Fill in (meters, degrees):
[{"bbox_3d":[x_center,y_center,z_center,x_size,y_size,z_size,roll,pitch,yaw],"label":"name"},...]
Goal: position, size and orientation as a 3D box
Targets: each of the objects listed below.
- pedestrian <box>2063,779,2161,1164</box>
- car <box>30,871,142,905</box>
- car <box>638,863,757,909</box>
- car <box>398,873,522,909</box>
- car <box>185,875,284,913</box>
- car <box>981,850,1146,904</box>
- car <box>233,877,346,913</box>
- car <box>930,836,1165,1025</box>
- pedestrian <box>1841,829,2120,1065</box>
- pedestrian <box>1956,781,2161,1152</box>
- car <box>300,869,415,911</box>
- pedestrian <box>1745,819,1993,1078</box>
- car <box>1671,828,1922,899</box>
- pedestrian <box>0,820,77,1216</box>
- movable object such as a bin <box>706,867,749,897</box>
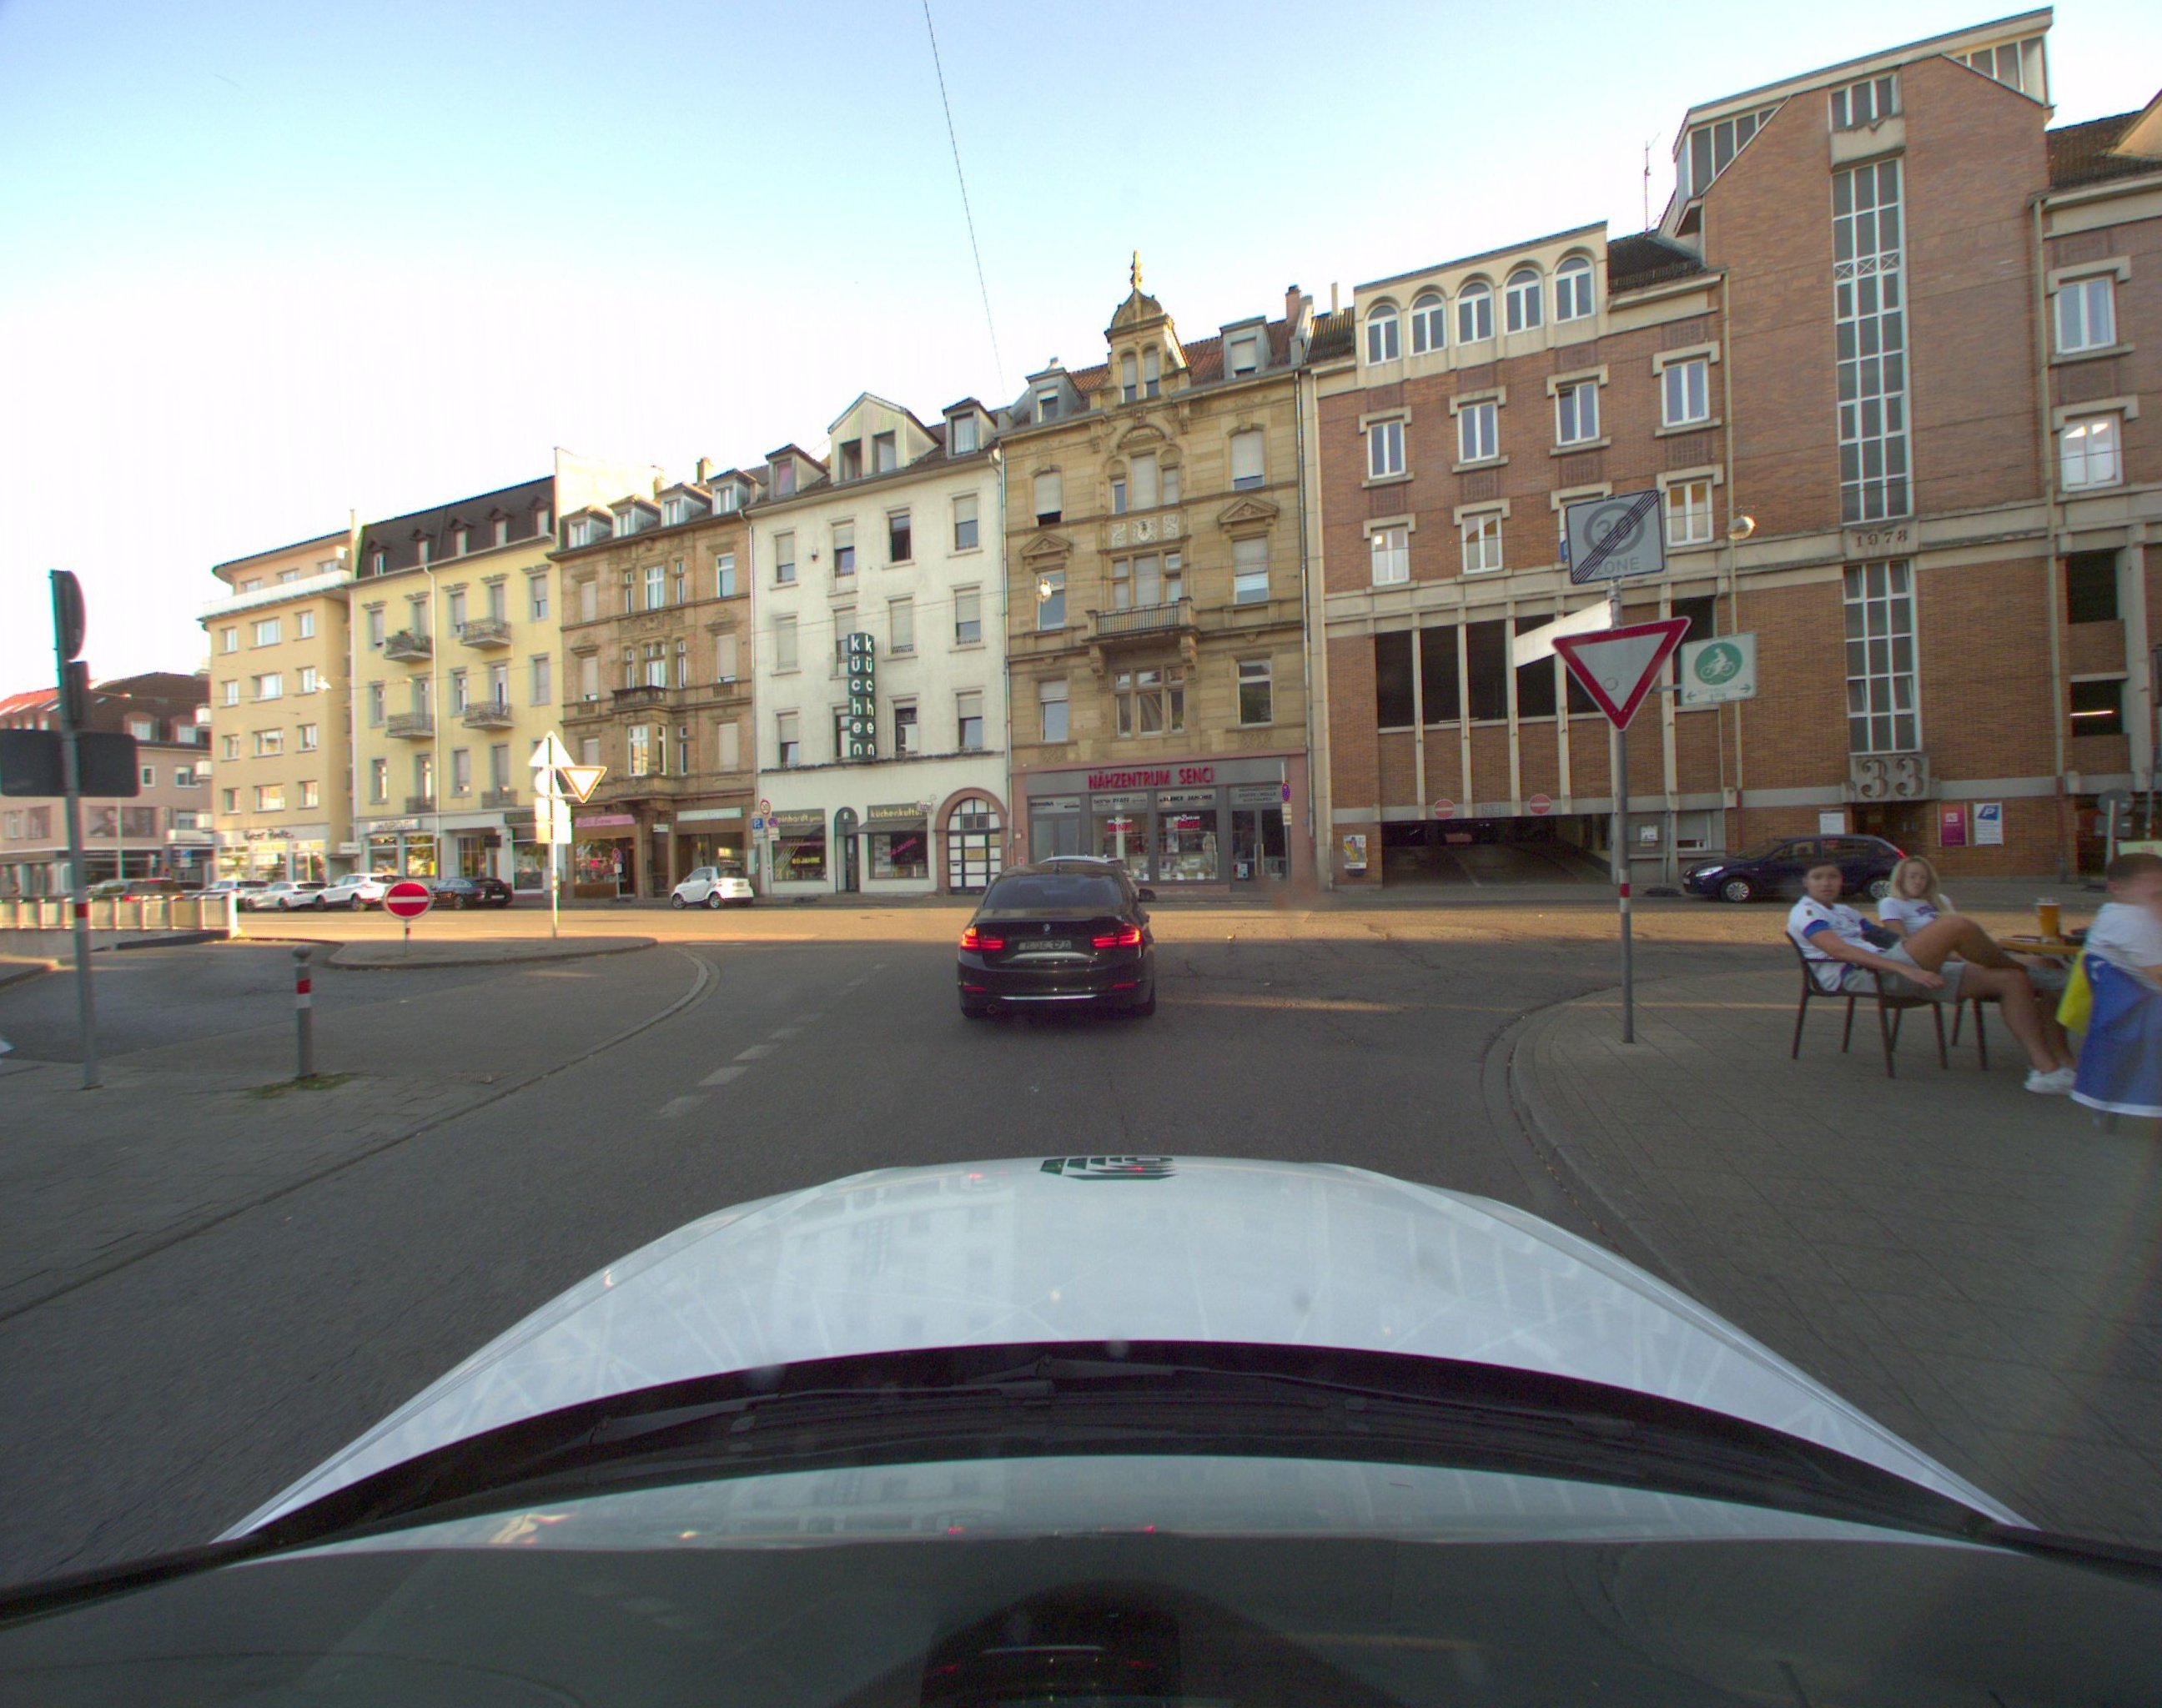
[{"bbox_3d":[4.636,0.450,3.065,0.710,1.536,0.852,-6,0,-1],"label":"pedestrian"},{"bbox_3d":[-46.519,1.567,38.090,4.189,1.518,1.824,0,0,17],"label":"car"},{"bbox_3d":[-14.195,1.154,30.179,3.952,1.585,1.714,0,0,21],"label":"car"},{"bbox_3d":[-26.582,1.585,34.875,4.792,1.434,2.010,-2,-1,21],"label":"car"},{"bbox_3d":[-42.516,1.978,40.908,4.356,1.762,1.883,0,0,21],"label":"car"},{"bbox_3d":[-0.515,0.665,25.054,4.628,1.535,2.010,0,0,20],"label":"car"},{"bbox_3d":[-37.510,1.892,38.587,4.811,1.543,2.033,0,0,22],"label":"car"},{"bbox_3d":[-0.141,0.654,8.705,1.880,1.492,4.208,-2,-1,4],"label":"car"},{"bbox_3d":[5.530,0.523,5.051,0.687,1.282,0.959,-1,-2,-28],"label":"pedestrian"},{"bbox_3d":[4.706,0.462,3.686,0.707,1.536,0.692,-2,-1,14],"label":"pedestrian"},{"bbox_3d":[-32.340,1.554,36.400,4.604,1.745,1.898,0,0,21],"label":"car"},{"bbox_3d":[4.738,0.511,4.926,0.773,1.382,0.831,-2,-1,-28],"label":"pedestrian"},{"bbox_3d":[16.484,0.225,19.051,3.952,1.520,2.011,-1,1,21],"label":"car"},{"bbox_3d":[-5.338,0.748,3.696,0.705,1.803,0.888,-1,0,31],"label":"pedestrian"},{"bbox_3d":[-14.595,1.140,33.676,1.381,1.186,0.873,-2,0,21],"label":"movable object such as a bin"}]
